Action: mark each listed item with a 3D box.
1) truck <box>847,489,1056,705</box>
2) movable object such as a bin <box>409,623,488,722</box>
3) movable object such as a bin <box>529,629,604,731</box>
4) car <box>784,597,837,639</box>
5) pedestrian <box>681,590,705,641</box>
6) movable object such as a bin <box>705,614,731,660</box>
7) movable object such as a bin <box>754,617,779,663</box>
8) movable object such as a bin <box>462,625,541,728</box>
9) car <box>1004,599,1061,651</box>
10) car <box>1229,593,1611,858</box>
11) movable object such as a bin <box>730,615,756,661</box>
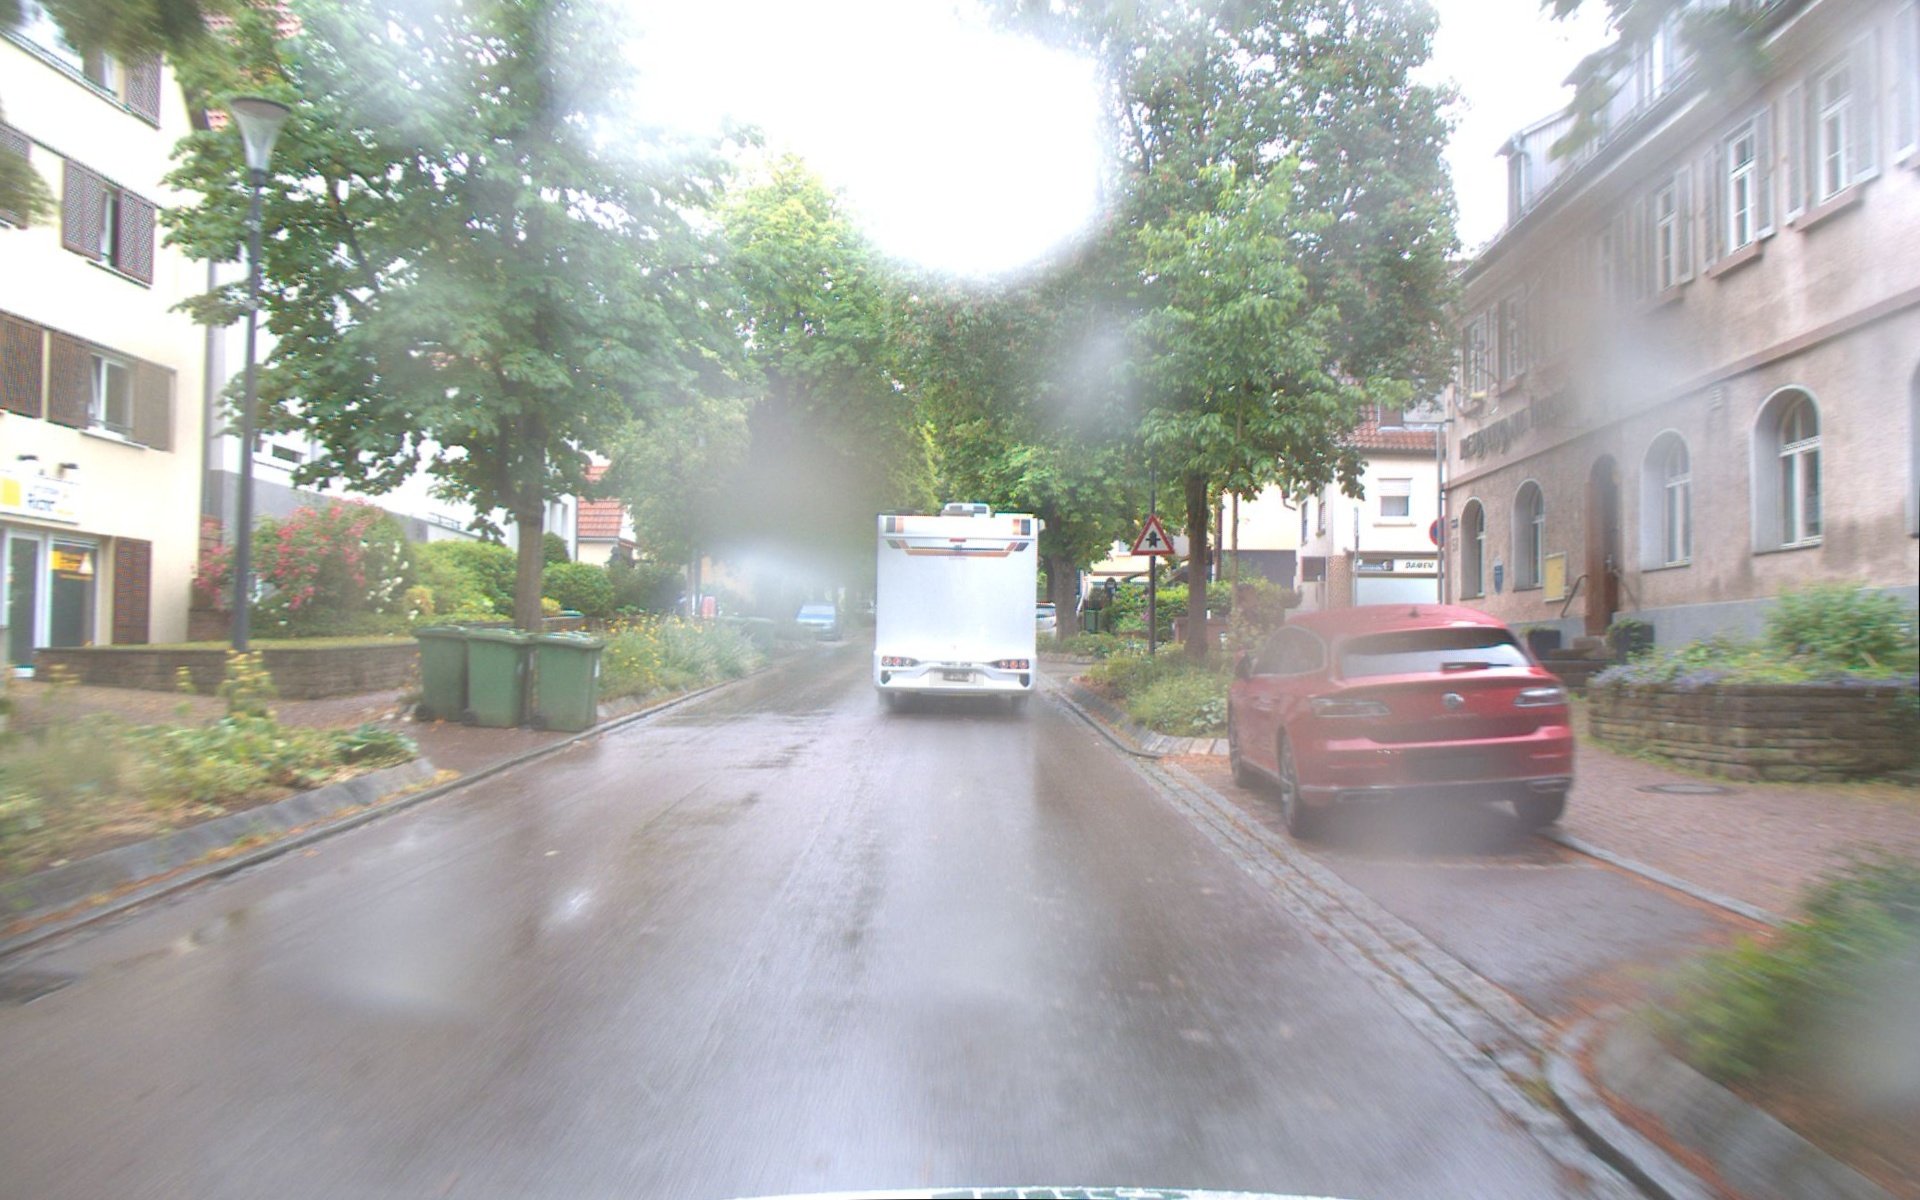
[{"bbox_3d":[-0.175,0.007,24.970,2.749,2.846,6.104,0,-1,-1],"label":"truck"},{"bbox_3d":[-5.892,0.826,19.084,0.656,1.124,0.817,0,-1,-1],"label":"movable object such as a bin"},{"bbox_3d":[-4.406,0.887,18.564,0.656,1.114,0.817,0,-1,-1],"label":"movable object such as a bin"},{"bbox_3d":[-5.808,0.703,63.970,1.764,1.579,3.991,0,-1,-9],"label":"car"},{"bbox_3d":[-10.000,0.580,61.996,0.800,1.876,0.769,0,-1,-1],"label":"pedestrian"},{"bbox_3d":[-5.722,0.882,39.107,0.517,1.077,0.562,0,-1,-1],"label":"movable object such as a bin"},{"bbox_3d":[-4.581,0.935,39.169,0.517,1.077,0.562,0,-1,-1],"label":"movable object such as a bin"},{"bbox_3d":[-5.113,0.845,18.491,0.656,1.124,0.817,0,-1,-1],"label":"movable object such as a bin"},{"bbox_3d":[2.246,0.783,51.840,1.615,1.569,3.530,-1,-1,0],"label":"car"},{"bbox_3d":[3.058,0.726,11.934,1.816,1.498,4.367,2,0,4],"label":"car"},{"bbox_3d":[-5.132,0.904,39.126,0.517,1.077,0.562,0,-1,-1],"label":"movable object such as a bin"}]
